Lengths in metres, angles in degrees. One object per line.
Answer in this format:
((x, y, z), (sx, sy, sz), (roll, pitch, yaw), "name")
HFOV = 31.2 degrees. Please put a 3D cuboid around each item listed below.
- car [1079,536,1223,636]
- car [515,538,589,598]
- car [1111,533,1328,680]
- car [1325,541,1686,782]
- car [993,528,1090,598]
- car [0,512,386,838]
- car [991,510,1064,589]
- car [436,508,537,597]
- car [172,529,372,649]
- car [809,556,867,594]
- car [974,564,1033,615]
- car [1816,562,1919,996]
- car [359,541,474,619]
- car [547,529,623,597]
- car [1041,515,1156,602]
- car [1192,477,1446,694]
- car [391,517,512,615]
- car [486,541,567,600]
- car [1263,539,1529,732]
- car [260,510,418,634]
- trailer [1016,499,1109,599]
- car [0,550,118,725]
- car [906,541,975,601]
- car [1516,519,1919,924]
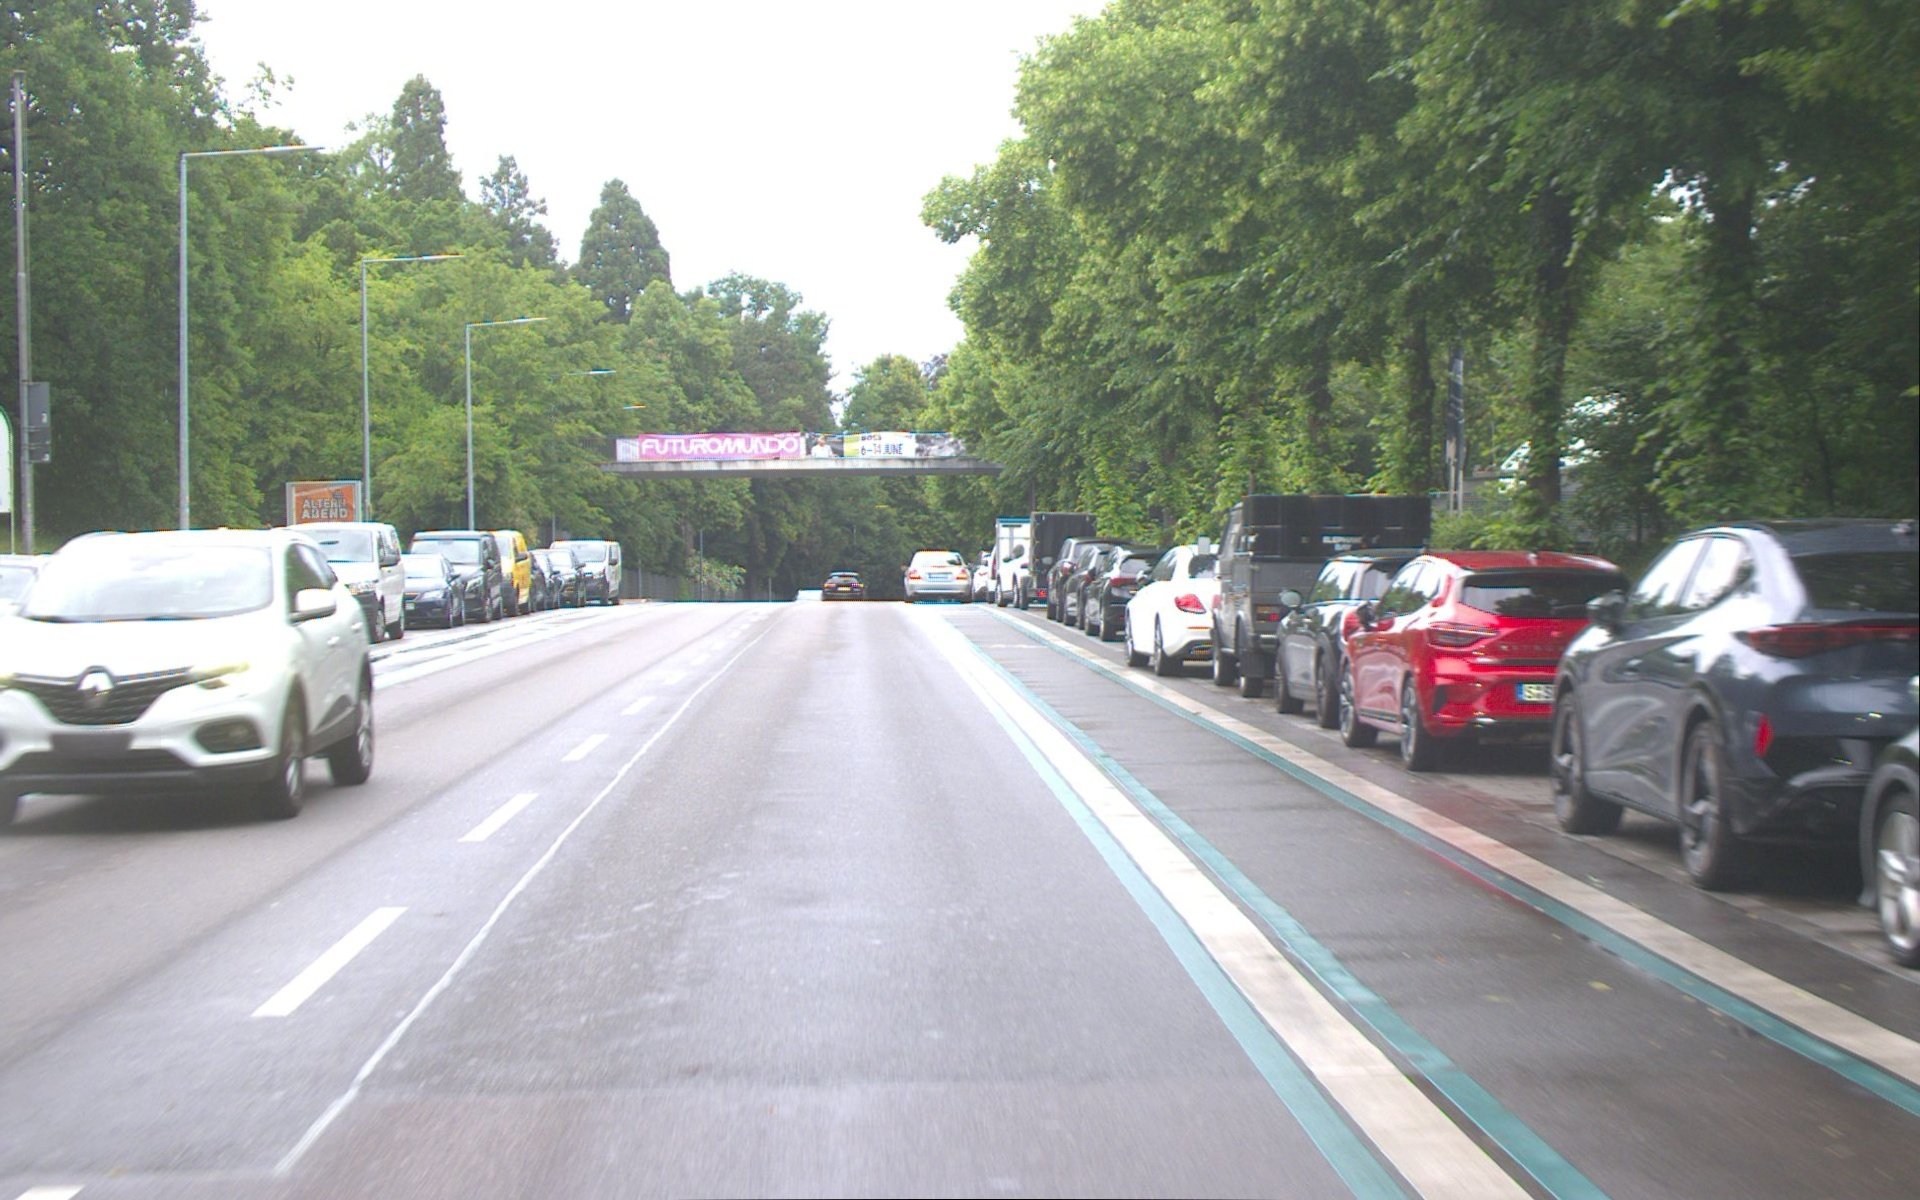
((2.914, -0.249, 53.324), (1.731, 1.458, 4.278), (0, 1, -3), "car")
((-11.352, -0.910, 95.750), (1.869, 1.536, 4.055), (-1, 2, -5), "car")
((2.884, 0.025, 39.228), (1.789, 1.537, 4.890), (1, 1, -3), "car")
((3.627, 0.352, 23.551), (1.686, 1.448, 4.166), (1, 1, -1), "car")
((1.903, -0.897, 81.545), (1.730, 1.578, 4.155), (-1, 1, -6), "car")
((-4.552, 0.347, 19.856), (1.795, 1.646, 4.129), (-2, 1, -1), "car")
((1.827, -1.391, 94.245), (1.889, 2.120, 4.045), (0, 1, -1), "car")
((-10.878, -1.124, 79.244), (1.882, 1.938, 4.827), (-1, 2, -3), "car")
((-10.141, -0.210, 51.031), (1.990, 1.600, 4.985), (-1, 2, -1), "car")
((-5.033, -1.049, 141.635), (2.140, 1.487, 4.499), (0, 1, -5), "car")
((1.327, -0.338, 106.210), (1.731, 1.457, 4.045), (-1, 1, -1), "car")
((4.170, 0.649, 10.660), (1.685, 1.451, 4.147), (1, 1, -4), "car")
((-10.646, -0.418, 67.535), (1.731, 1.385, 4.371), (-1, 2, -3), "car")
((-11.234, -1.135, 103.194), (1.757, 1.925, 4.193), (-1, 2, 1), "car")
((2.595, -0.795, 65.240), (1.731, 1.578, 4.155), (1, 1, -3), "car")
((3.499, -0.187, 34.302), (1.926, 2.015, 4.664), (0, 1, -1), "car")
((-10.756, -0.764, 72.992), (1.990, 1.939, 5.143), (-1, 2, -2), "car")
((-11.299, -0.785, 89.831), (1.885, 1.446, 3.983), (-1, 2, -5), "car")
((3.541, 0.244, 28.487), (1.606, 1.448, 3.747), (1, 1, -1), "car")
((-10.250, -0.510, 57.076), (1.913, 1.924, 4.929), (-1, 2, -2), "car")
((2.277, -1.153, 77.433), (1.883, 2.158, 3.808), (-1, 1, -1), "trailer")
((-9.259, 0.300, 31.879), (2.077, 1.477, 4.674), (-1, 1, -5), "car")
((-0.559, -0.808, 94.648), (1.731, 1.578, 4.037), (-1, 1, -2), "car")
((3.869, 0.436, 15.813), (1.756, 1.584, 4.499), (1, 1, -1), "car")
